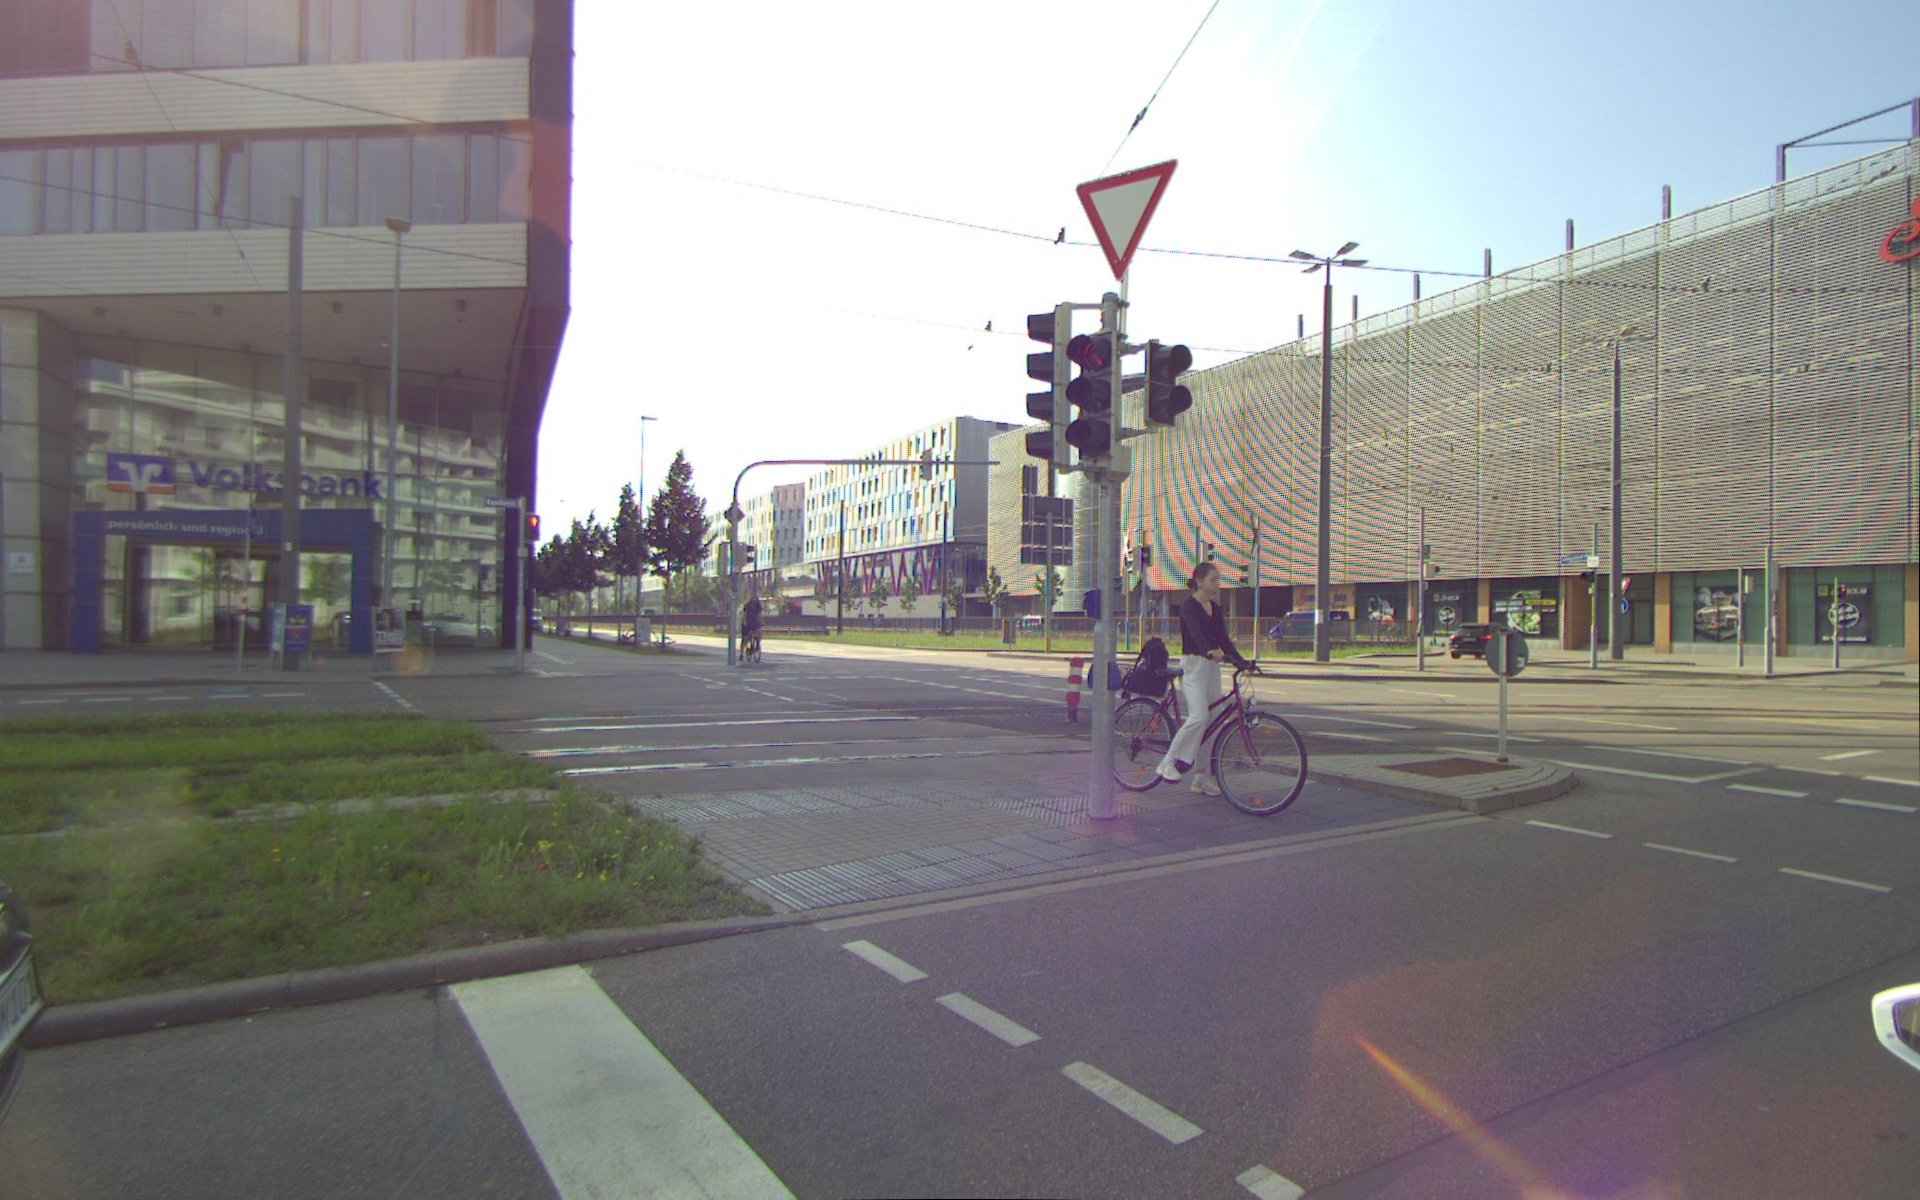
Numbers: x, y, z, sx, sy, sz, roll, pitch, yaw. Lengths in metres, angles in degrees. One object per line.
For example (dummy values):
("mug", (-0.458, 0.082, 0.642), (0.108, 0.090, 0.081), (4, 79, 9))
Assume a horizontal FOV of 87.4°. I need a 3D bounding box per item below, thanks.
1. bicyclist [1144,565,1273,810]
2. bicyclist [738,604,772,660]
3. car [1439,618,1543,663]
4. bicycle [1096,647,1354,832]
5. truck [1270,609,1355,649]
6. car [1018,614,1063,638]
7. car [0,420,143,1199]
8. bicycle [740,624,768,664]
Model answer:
("bicyclist", (1.863, 0.623, 7.542), (0.664, 1.725, 0.630), (2, 0, -39))
("bicyclist", (-6.002, 0.930, 29.411), (0.772, 1.607, 0.927), (2, 0, -22))
("car", (21.466, 1.617, 40.557), (3.954, 1.718, 1.984), (1, -1, -31))
("bicycle", (1.906, 0.954, 7.463), (0.664, 1.113, 1.784), (2, 0, -38))
("truck", (21.488, 1.768, 61.344), (2.184, 2.352, 4.510), (1, -1, -33))
("car", (6.797, 2.194, 85.199), (1.515, 2.040, 4.341), (1, -1, -31))
("car", (-3.557, 0.499, 0.838), (4.172, 1.700, 1.789), (1, -2, -30))
("bicycle", (-6.041, 1.261, 29.413), (0.413, 1.070, 1.949), (2, 0, -22))
